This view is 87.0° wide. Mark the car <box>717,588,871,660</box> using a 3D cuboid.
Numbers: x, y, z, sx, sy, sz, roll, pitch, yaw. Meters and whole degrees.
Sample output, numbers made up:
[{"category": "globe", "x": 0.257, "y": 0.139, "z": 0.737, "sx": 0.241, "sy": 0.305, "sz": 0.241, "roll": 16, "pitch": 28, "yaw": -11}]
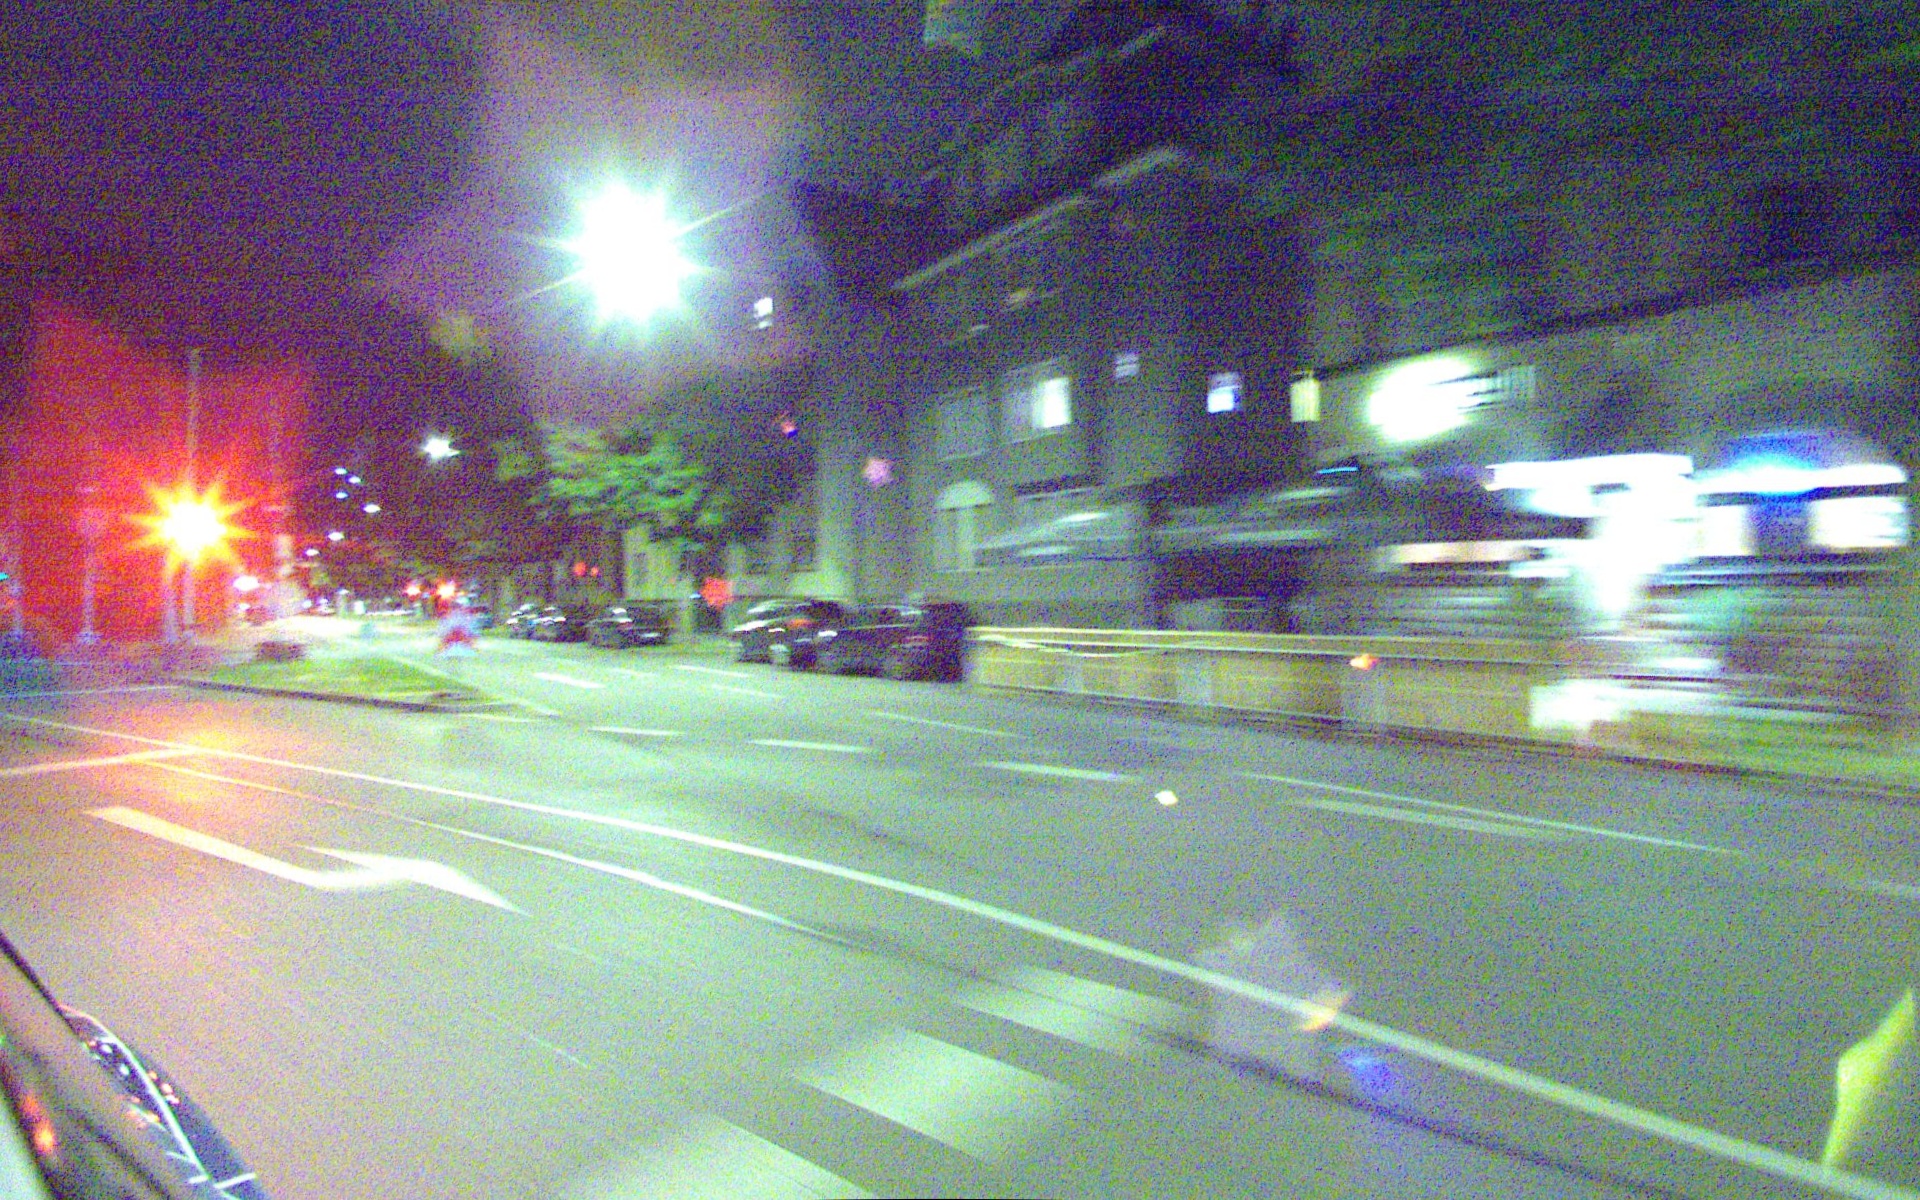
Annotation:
[{"category": "car", "x": -4.058, "y": 0.529, "z": 24.079, "sx": 1.836, "sy": 1.490, "sz": 4.484, "roll": -2, "pitch": 1, "yaw": -35}]

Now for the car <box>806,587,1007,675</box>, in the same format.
[{"category": "car", "x": -1.174, "y": 0.546, "z": 19.831, "sx": 1.836, "sy": 1.444, "sz": 4.455, "roll": -3, "pitch": 1, "yaw": -35}]

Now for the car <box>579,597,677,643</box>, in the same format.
[{"category": "car", "x": -11.531, "y": 0.661, "z": 34.985, "sx": 1.836, "sy": 1.444, "sz": 4.413, "roll": -3, "pitch": 1, "yaw": -37}]

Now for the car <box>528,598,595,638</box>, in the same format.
[{"category": "car", "x": -16.434, "y": 0.715, "z": 41.612, "sx": 1.531, "sy": 1.444, "sz": 4.359, "roll": -4, "pitch": 2, "yaw": -35}]

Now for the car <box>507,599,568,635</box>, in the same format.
[{"category": "car", "x": -19.120, "y": 0.731, "z": 45.717, "sx": 1.617, "sy": 1.444, "sz": 4.361, "roll": -4, "pitch": 2, "yaw": -35}]

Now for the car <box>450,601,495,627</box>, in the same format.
[{"category": "car", "x": -28.640, "y": 0.814, "z": 59.412, "sx": 1.608, "sy": 1.475, "sz": 3.521, "roll": 0, "pitch": 0, "yaw": -39}]
